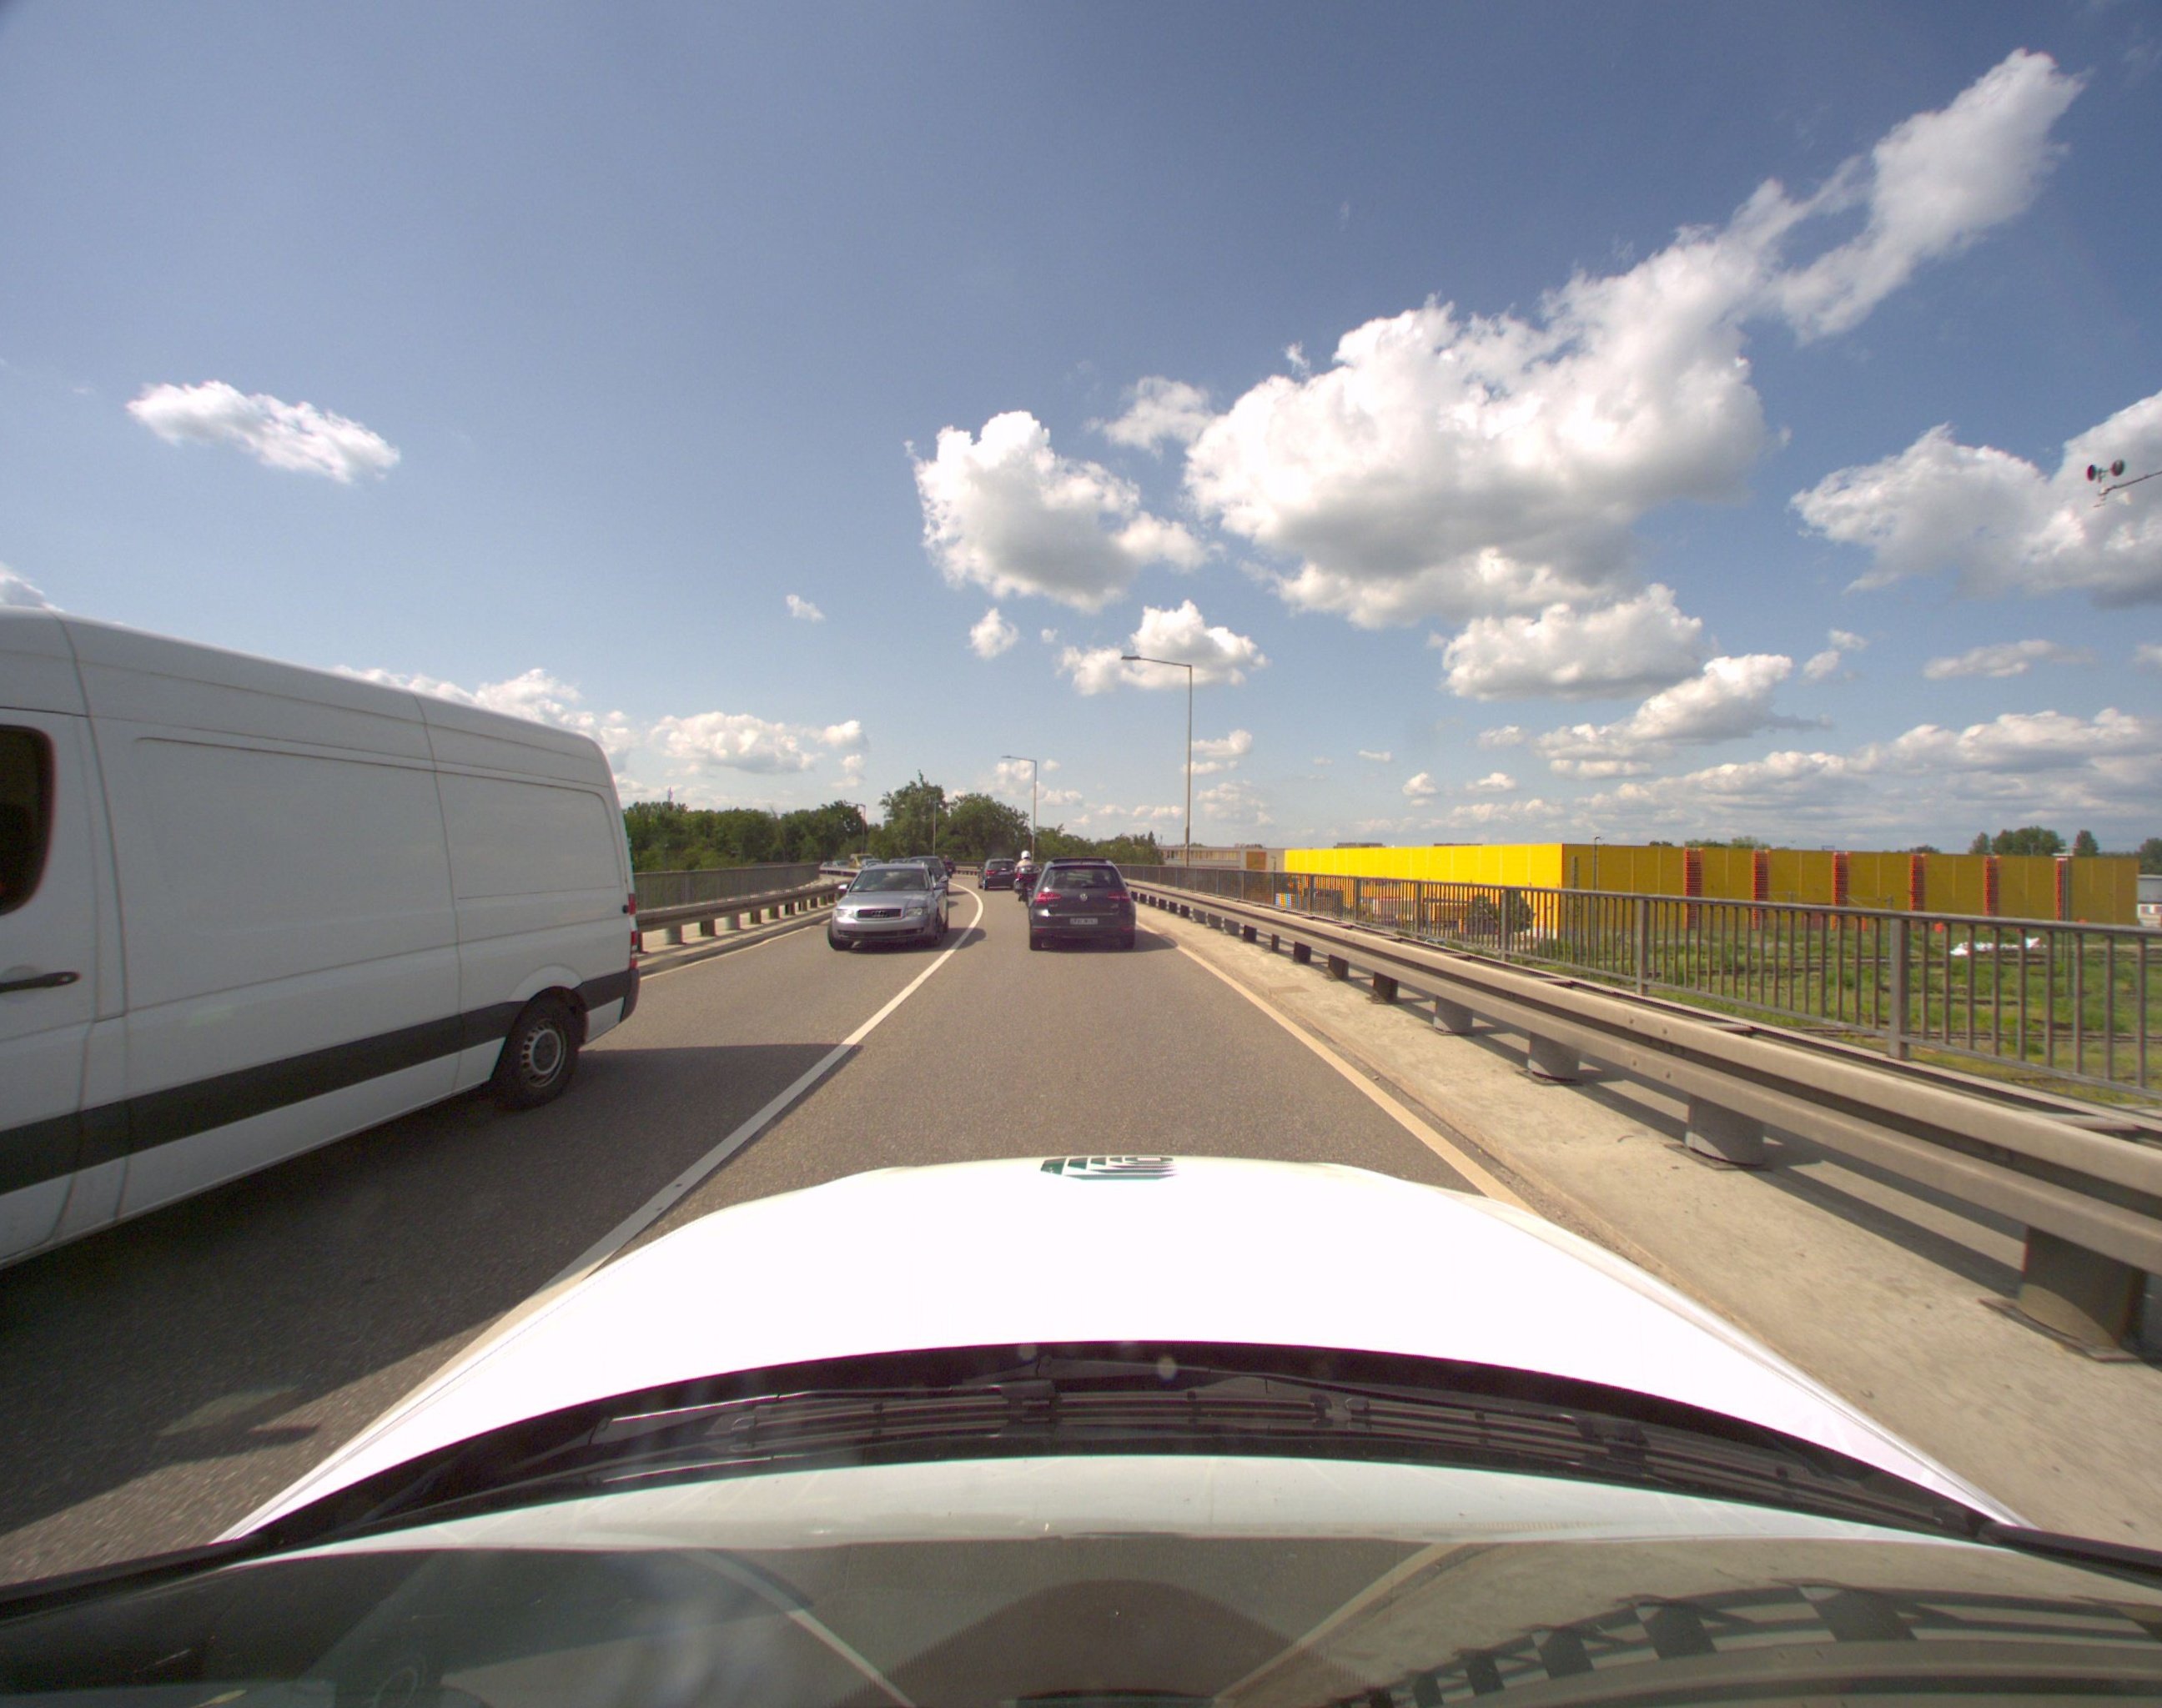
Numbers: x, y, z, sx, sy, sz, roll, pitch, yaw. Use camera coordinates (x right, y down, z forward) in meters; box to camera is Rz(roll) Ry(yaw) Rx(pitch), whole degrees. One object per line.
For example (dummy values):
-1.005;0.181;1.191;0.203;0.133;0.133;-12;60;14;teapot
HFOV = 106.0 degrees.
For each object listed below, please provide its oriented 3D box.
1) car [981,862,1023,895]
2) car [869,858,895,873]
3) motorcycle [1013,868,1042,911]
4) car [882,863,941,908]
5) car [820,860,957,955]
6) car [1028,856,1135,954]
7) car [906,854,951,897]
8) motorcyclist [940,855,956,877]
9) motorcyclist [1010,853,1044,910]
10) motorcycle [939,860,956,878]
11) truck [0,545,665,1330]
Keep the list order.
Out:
-3.627;1.116;37.069;1.681;1.388;3.727;-1;-1;-9;car
-20.836;1.144;85.069;1.824;1.487;3.965;-2;0;-26;car
-1.555;1.011;23.825;0.787;1.132;2.396;0;0;-3;motorcycle
-5.665;1.009;27.645;1.631;1.345;4.241;-2;0;-8;car
-3.419;0.877;15.231;1.763;1.460;4.291;-2;0;-4;car
-0.099;0.805;14.517;1.639;1.479;3.867;-1;-1;-3;car
-6.281;0.853;33.705;1.684;1.596;4.267;-2;0;-10;car
-9.539;0.858;58.265;0.968;1.596;1.118;0;0;-17;motorcyclist
-1.558;0.785;23.744;0.963;1.620;1.124;0;0;-3;motorcyclist
-9.526;1.063;58.197;0.890;1.247;2.385;0;0;-17;motorcycle
-4.440;0.285;3.666;1.987;2.507;5.947;-2;0;0;truck
